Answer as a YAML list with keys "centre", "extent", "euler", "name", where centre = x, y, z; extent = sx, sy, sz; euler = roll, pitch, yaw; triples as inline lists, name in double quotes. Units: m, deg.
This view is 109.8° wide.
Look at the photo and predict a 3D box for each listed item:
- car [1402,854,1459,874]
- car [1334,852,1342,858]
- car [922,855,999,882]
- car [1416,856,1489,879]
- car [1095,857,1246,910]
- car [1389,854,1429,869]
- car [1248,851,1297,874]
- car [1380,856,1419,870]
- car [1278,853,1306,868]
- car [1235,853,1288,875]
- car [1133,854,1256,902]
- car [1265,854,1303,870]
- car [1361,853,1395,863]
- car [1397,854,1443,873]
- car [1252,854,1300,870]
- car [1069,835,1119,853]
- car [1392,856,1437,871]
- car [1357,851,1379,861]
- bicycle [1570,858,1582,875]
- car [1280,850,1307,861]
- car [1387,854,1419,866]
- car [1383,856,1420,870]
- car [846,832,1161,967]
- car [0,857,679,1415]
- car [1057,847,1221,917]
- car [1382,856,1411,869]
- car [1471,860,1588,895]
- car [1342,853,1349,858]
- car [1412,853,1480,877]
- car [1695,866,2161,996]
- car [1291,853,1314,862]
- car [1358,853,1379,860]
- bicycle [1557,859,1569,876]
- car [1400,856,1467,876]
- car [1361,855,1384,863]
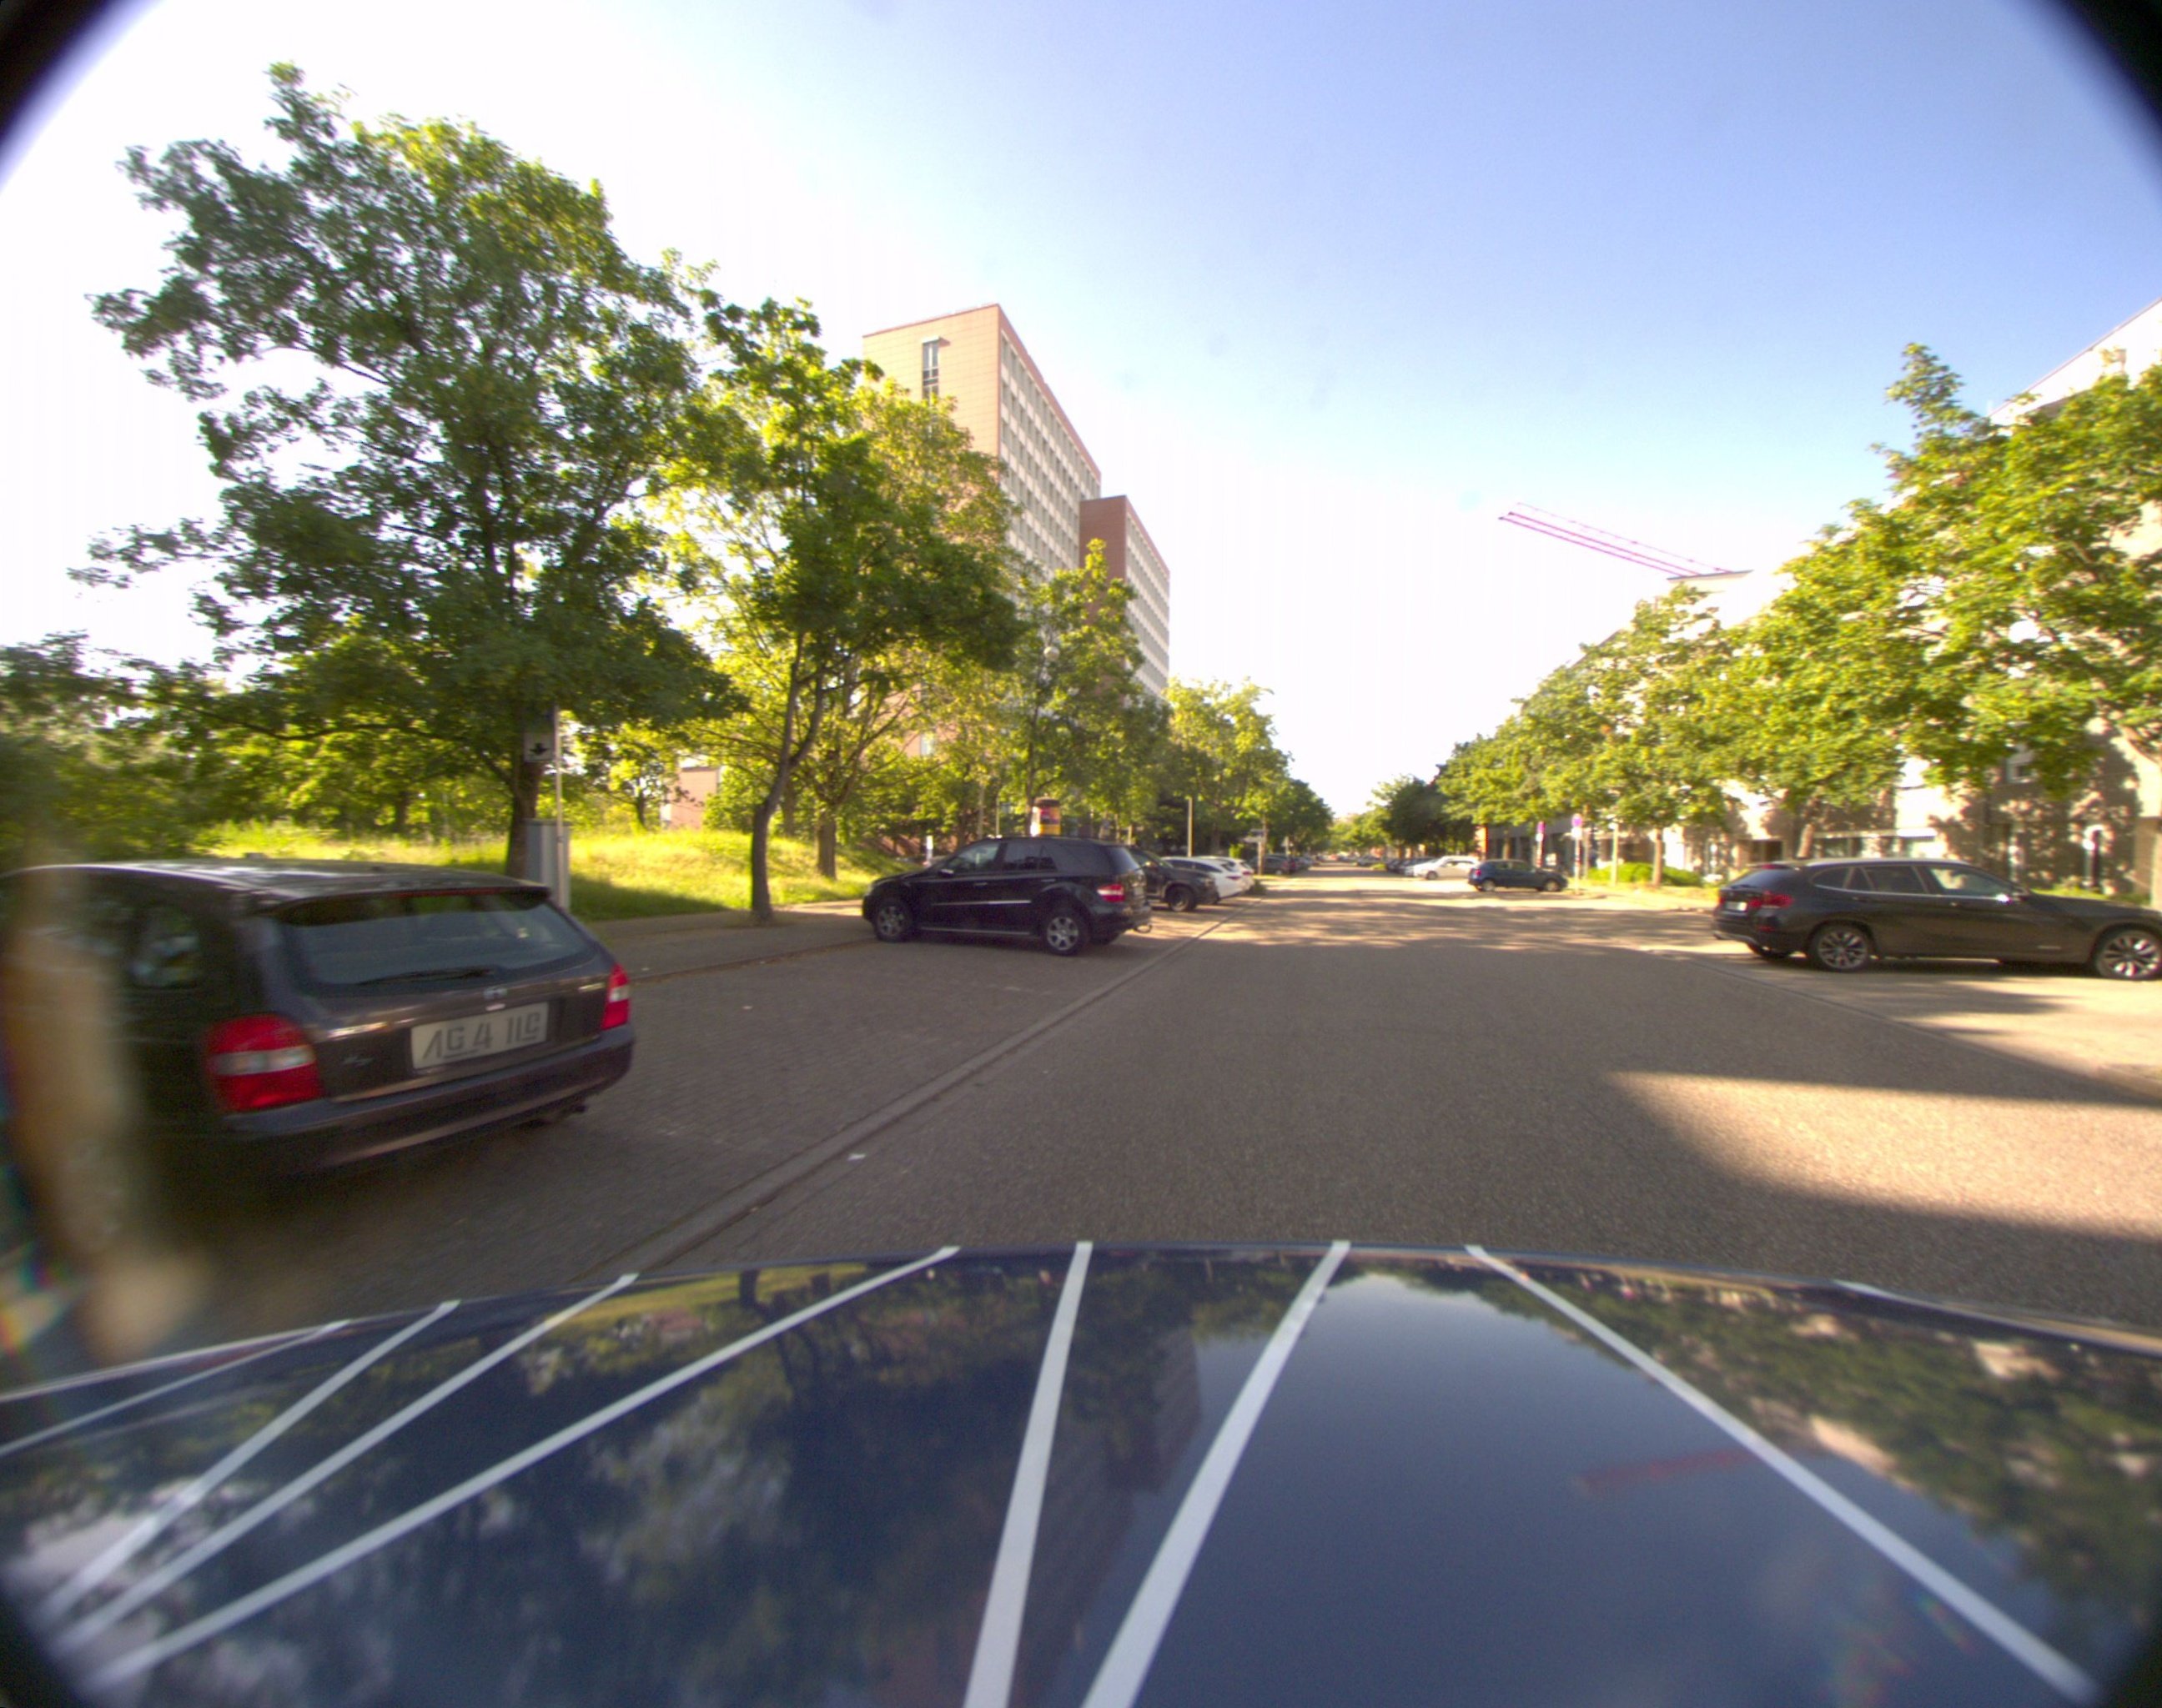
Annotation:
- centre: [28.691, 0.807, 62.527]
  extent: [4.117, 1.611, 1.806]
  euler: [-1, 0, 20]
  name: "car"
- centre: [70.370, 0.285, 208.338]
  extent: [1.949, 1.617, 4.006]
  euler: [0, 0, 21]
  name: "car"
- centre: [-6.950, 0.818, 44.042]
  extent: [3.991, 1.521, 1.837]
  euler: [0, 0, 17]
  name: "car"
- centre: [25.339, 0.889, 51.987]
  extent: [4.263, 1.471, 1.802]
  euler: [0, 0, 17]
  name: "car"
- centre: [2.815, 0.879, 23.620]
  extent: [4.448, 1.536, 1.819]
  euler: [0, 1, 16]
  name: "car"
- centre: [33.129, 0.766, 76.758]
  extent: [3.534, 1.428, 1.660]
  euler: [0, 1, 17]
  name: "car"
- centre: [15.640, 0.650, 61.984]
  extent: [3.675, 1.741, 1.727]
  euler: [2, 1, 20]
  name: "car"
- centre: [33.197, 0.976, 79.257]
  extent: [3.534, 1.437, 1.659]
  euler: [0, 1, 15]
  name: "car"
- centre: [25.646, 0.769, 92.364]
  extent: [3.049, 1.595, 1.607]
  euler: [2, 1, 21]
  name: "car"
- centre: [14.179, 0.771, 59.641]
  extent: [3.839, 1.438, 1.594]
  euler: [4, 0, 15]
  name: "car"
- centre: [4.430, 0.882, 29.529]
  extent: [4.432, 1.584, 1.839]
  euler: [3, 1, 15]
  name: "car"
- centre: [20.330, 0.765, 76.135]
  extent: [3.576, 1.498, 1.726]
  euler: [2, 1, 17]
  name: "car"
- centre: [50.756, 0.660, 129.925]
  extent: [5.245, 1.616, 1.956]
  euler: [0, 1, 20]
  name: "car"
- centre: [29.847, 0.851, 66.991]
  extent: [3.576, 1.658, 1.657]
  euler: [-1, 0, 21]
  name: "car"
- centre: [18.879, 0.739, 73.531]
  extent: [4.425, 1.544, 1.862]
  euler: [0, 0, 17]
  name: "car"
- centre: [1.299, -0.987, 75.678]
  extent: [4.722, 1.676, 1.877]
  euler: [1, 0, 14]
  name: "car"
- centre: [32.399, 0.949, 73.826]
  extent: [3.827, 1.405, 1.690]
  euler: [-1, -1, 17]
  name: "car"
- centre: [56.087, 0.403, 148.604]
  extent: [3.992, 2.094, 2.002]
  euler: [0, 1, 16]
  name: "car"
- centre: [34.875, 0.879, 53.540]
  extent: [0.338, 1.168, 1.630]
  euler: [0, 1, 18]
  name: "bicycle"
- centre: [33.897, 0.183, 121.346]
  extent: [4.159, 1.696, 2.002]
  euler: [0, 1, 16]
  name: "car"
- centre: [41.103, 0.763, 96.989]
  extent: [3.625, 1.499, 1.620]
  euler: [0, 1, 16]
  name: "car"
- centre: [35.212, 0.973, 83.535]
  extent: [3.534, 1.497, 1.648]
  euler: [0, 1, 17]
  name: "car"
- centre: [-1.211, 0.610, 12.279]
  extent: [4.591, 1.769, 2.003]
  euler: [2, 1, 18]
  name: "car"
- centre: [-4.278, 0.824, 3.673]
  extent: [3.990, 1.379, 1.825]
  euler: [3, 1, 18]
  name: "car"
- centre: [1.607, 0.706, 20.683]
  extent: [4.123, 1.609, 1.735]
  euler: [2, 2, 16]
  name: "car"
- centre: [36.620, 0.944, 88.186]
  extent: [2.929, 1.435, 1.391]
  euler: [0, 1, 18]
  name: "car"
- centre: [19.145, 0.973, 32.602]
  extent: [3.992, 1.403, 1.819]
  euler: [0, 1, 15]
  name: "car"
- centre: [71.340, 0.324, 204.868]
  extent: [1.764, 1.365, 4.006]
  euler: [2, 1, 21]
  name: "car"
- centre: [26.305, 0.786, 54.934]
  extent: [4.230, 1.593, 1.955]
  euler: [-1, 1, 19]
  name: "car"
- centre: [11.427, 0.939, 10.520]
  extent: [4.197, 1.511, 1.774]
  euler: [0, 1, 19]
  name: "car"
- centre: [40.356, 0.642, 138.575]
  extent: [3.992, 1.773, 1.955]
  euler: [0, 1, 14]
  name: "car"
- centre: [58.076, 0.532, 153.546]
  extent: [3.992, 1.406, 1.596]
  euler: [1, 0, 16]
  name: "car"
- centre: [33.964, 0.925, 53.508]
  extent: [0.338, 1.168, 1.630]
  euler: [0, 1, 18]
  name: "bicycle"
- centre: [27.691, 0.935, 59.783]
  extent: [4.515, 1.443, 1.943]
  euler: [-1, 0, 14]
  name: "car"
- centre: [54.256, 0.911, 141.536]
  extent: [3.962, 1.463, 1.956]
  euler: [0, 1, 20]
  name: "car"
